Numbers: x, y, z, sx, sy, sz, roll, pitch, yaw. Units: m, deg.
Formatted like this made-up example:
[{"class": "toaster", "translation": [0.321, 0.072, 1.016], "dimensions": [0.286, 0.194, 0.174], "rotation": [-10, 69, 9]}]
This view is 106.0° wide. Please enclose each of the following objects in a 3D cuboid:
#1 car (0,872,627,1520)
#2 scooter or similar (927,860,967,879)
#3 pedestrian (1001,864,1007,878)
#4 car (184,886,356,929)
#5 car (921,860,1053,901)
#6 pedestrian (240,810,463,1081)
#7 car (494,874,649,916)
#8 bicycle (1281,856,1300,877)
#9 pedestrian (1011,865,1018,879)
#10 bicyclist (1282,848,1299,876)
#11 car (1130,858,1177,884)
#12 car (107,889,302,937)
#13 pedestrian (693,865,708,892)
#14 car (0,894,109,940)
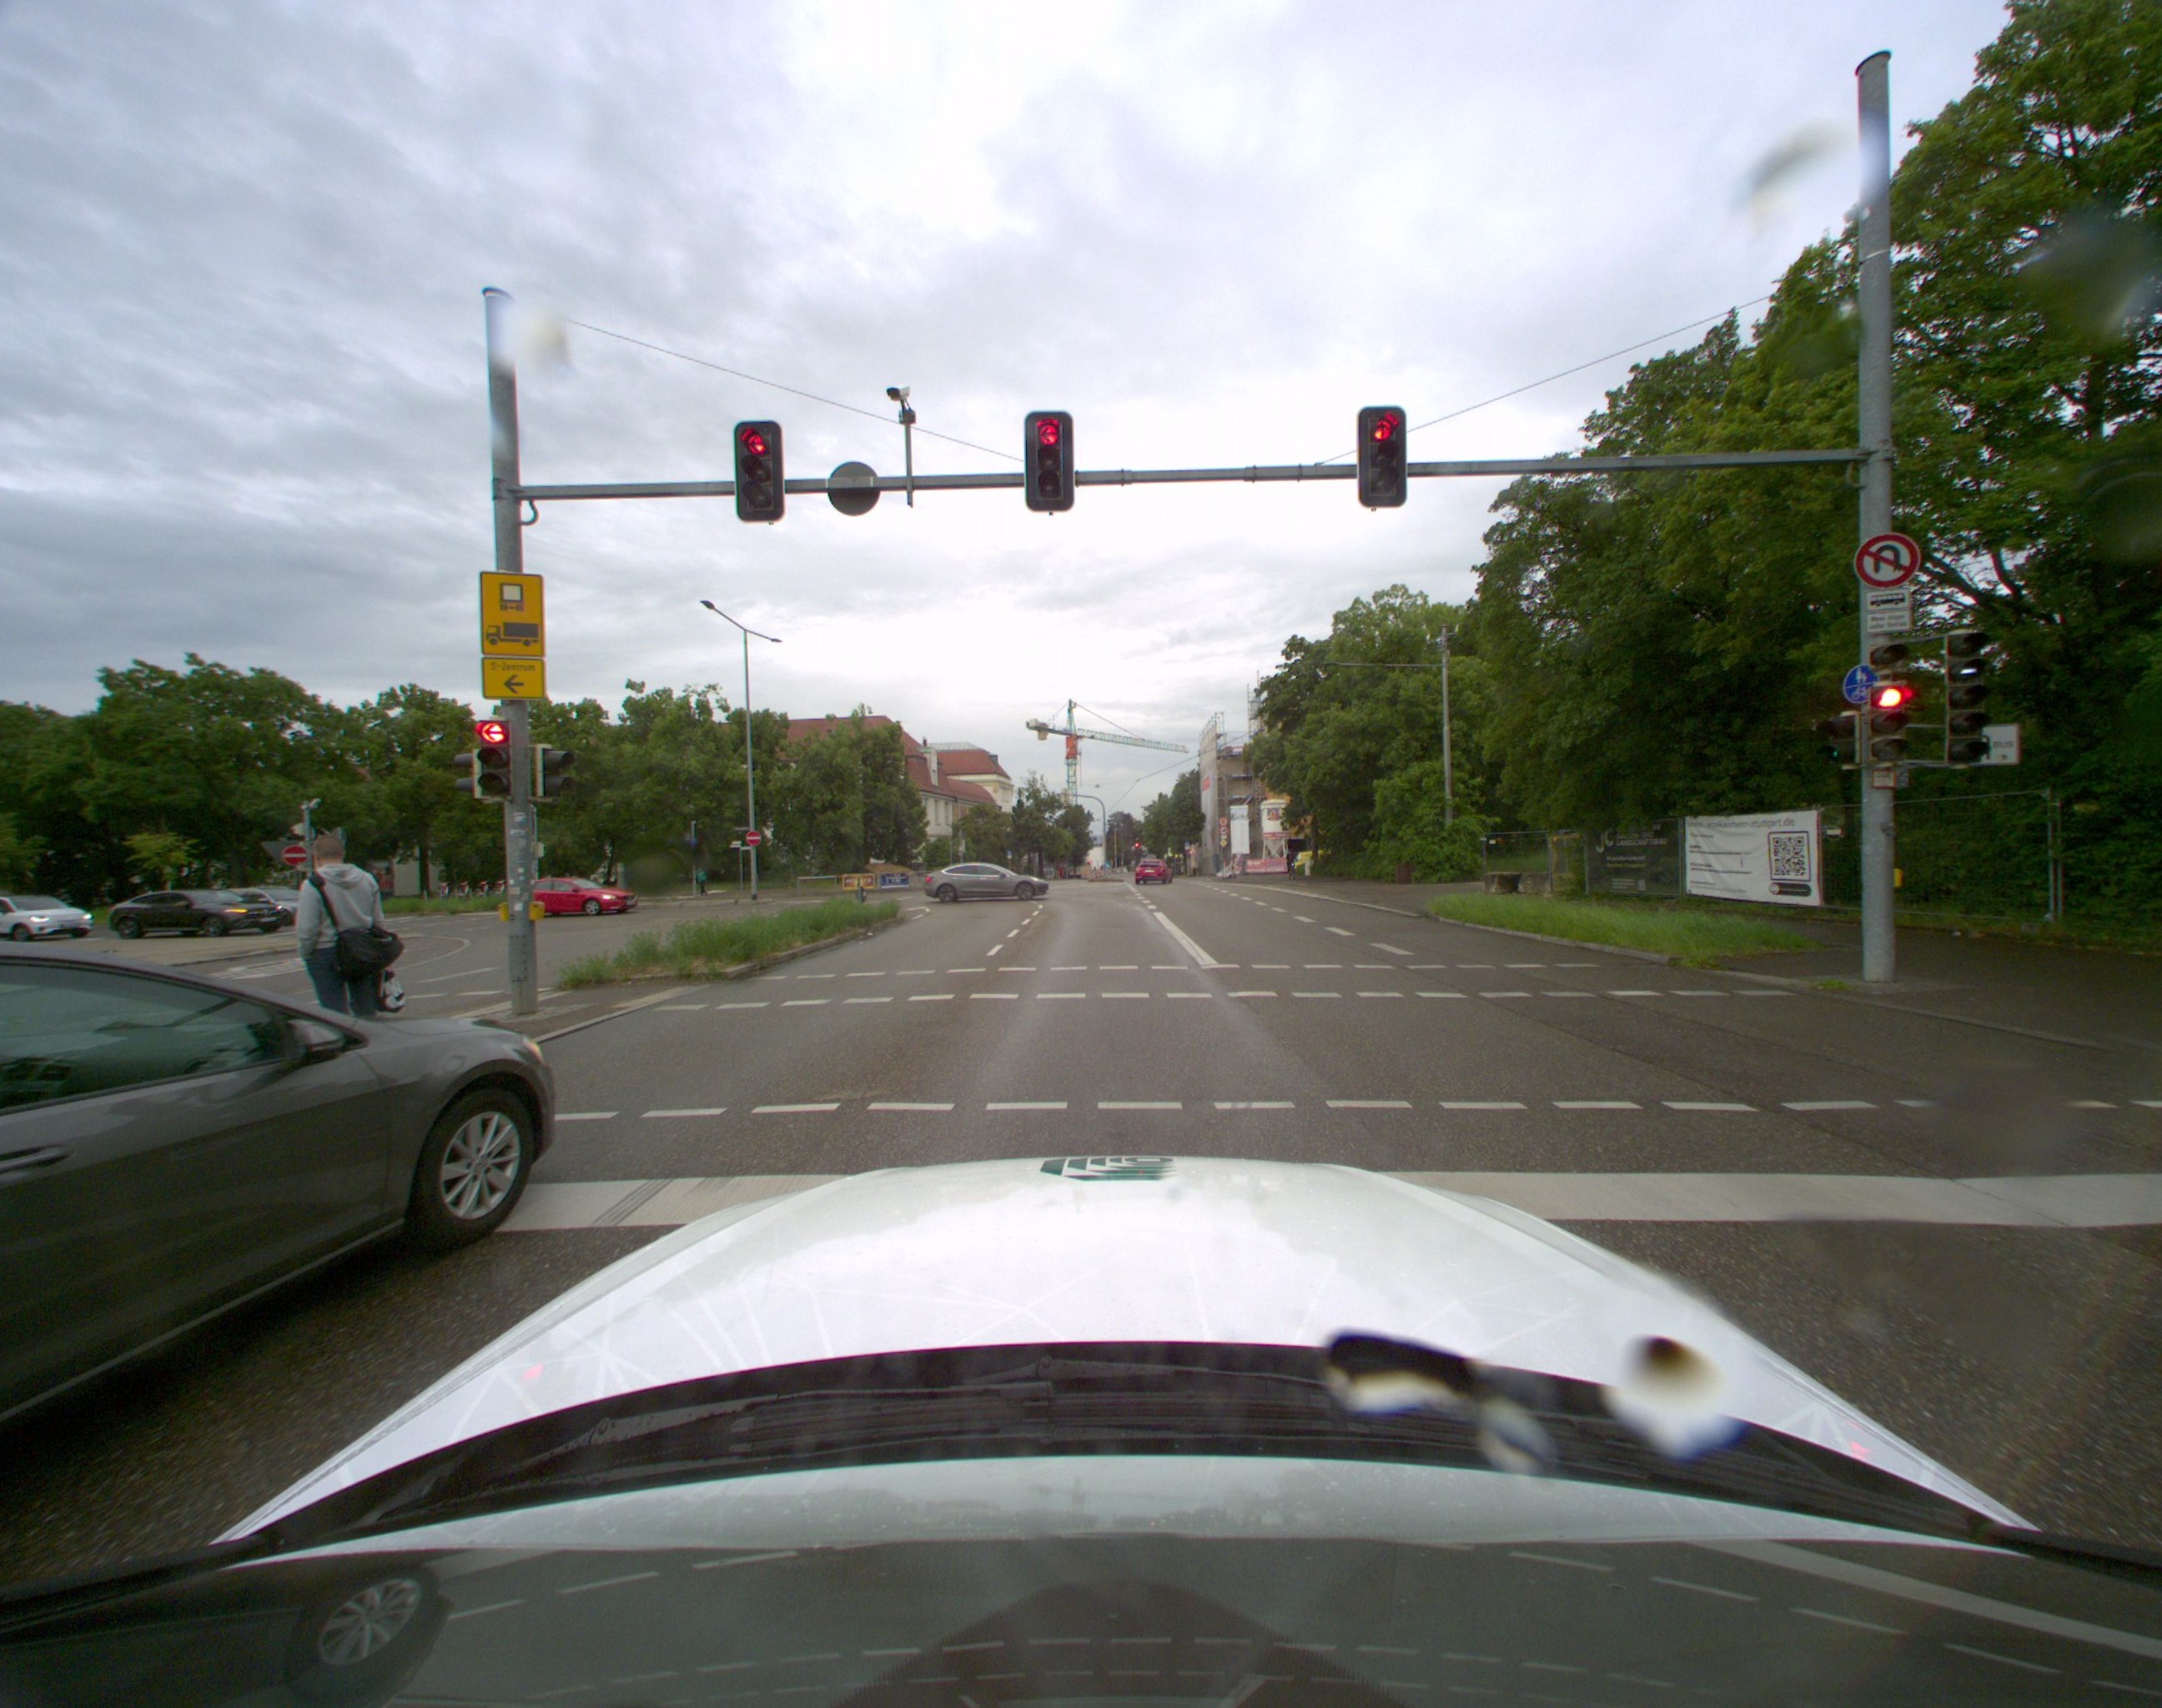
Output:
[{"class": "car", "translation": [-3.380, 0.853, 2.144], "dimensions": [1.798, 1.429, 4.199], "rotation": [-3, 0, 2]}, {"class": "scooter or similar", "translation": [-10.998, 1.257, 66.790], "dimensions": [3.078, 1.440, 0.948], "rotation": [-2, 0, -1]}, {"class": "pedestrian", "translation": [-7.957, 1.722, 83.985], "dimensions": [0.584, 1.430, 0.467], "rotation": [0, -2, 2]}, {"class": "car", "translation": [-31.204, 2.038, 31.440], "dimensions": [4.512, 1.425, 1.999], "rotation": [-2, 0, -1]}, {"class": "car", "translation": [-3.437, 0.967, 30.581], "dimensions": [4.757, 1.425, 1.999], "rotation": [-1, 0, -2]}, {"class": "pedestrian", "translation": [-5.910, 0.708, 6.655], "dimensions": [0.935, 2.013, 0.848], "rotation": [-4, -1, 6]}, {"class": "car", "translation": [-18.930, 1.501, 30.385], "dimensions": [4.506, 1.425, 2.002], "rotation": [-1, 0, 3]}, {"class": "bicycle", "translation": [11.934, 0.732, 46.383], "dimensions": [0.717, 1.193, 1.757], "rotation": [0, -2, 3]}, {"class": "pedestrian", "translation": [-6.963, 1.898, 85.168], "dimensions": [0.635, 1.386, 0.606], "rotation": [0, -2, 0]}, {"class": "bicyclist", "translation": [11.943, 0.460, 46.436], "dimensions": [0.717, 1.564, 1.143], "rotation": [0, -2, 3]}, {"class": "car", "translation": [4.320, 0.971, 48.013], "dimensions": [1.979, 1.425, 4.537], "rotation": [-1, 0, 15]}, {"class": "car", "translation": [-29.852, 1.971, 27.838], "dimensions": [4.432, 1.425, 1.999], "rotation": [-1, 0, -1]}, {"class": "pedestrian", "translation": [-21.848, 1.403, 46.801], "dimensions": [0.619, 1.490, 0.768], "rotation": [-2, 0, -15]}, {"class": "car", "translation": [-36.703, 2.184, 28.205], "dimensions": [3.761, 1.425, 1.845], "rotation": [-1, 0, -1]}]
